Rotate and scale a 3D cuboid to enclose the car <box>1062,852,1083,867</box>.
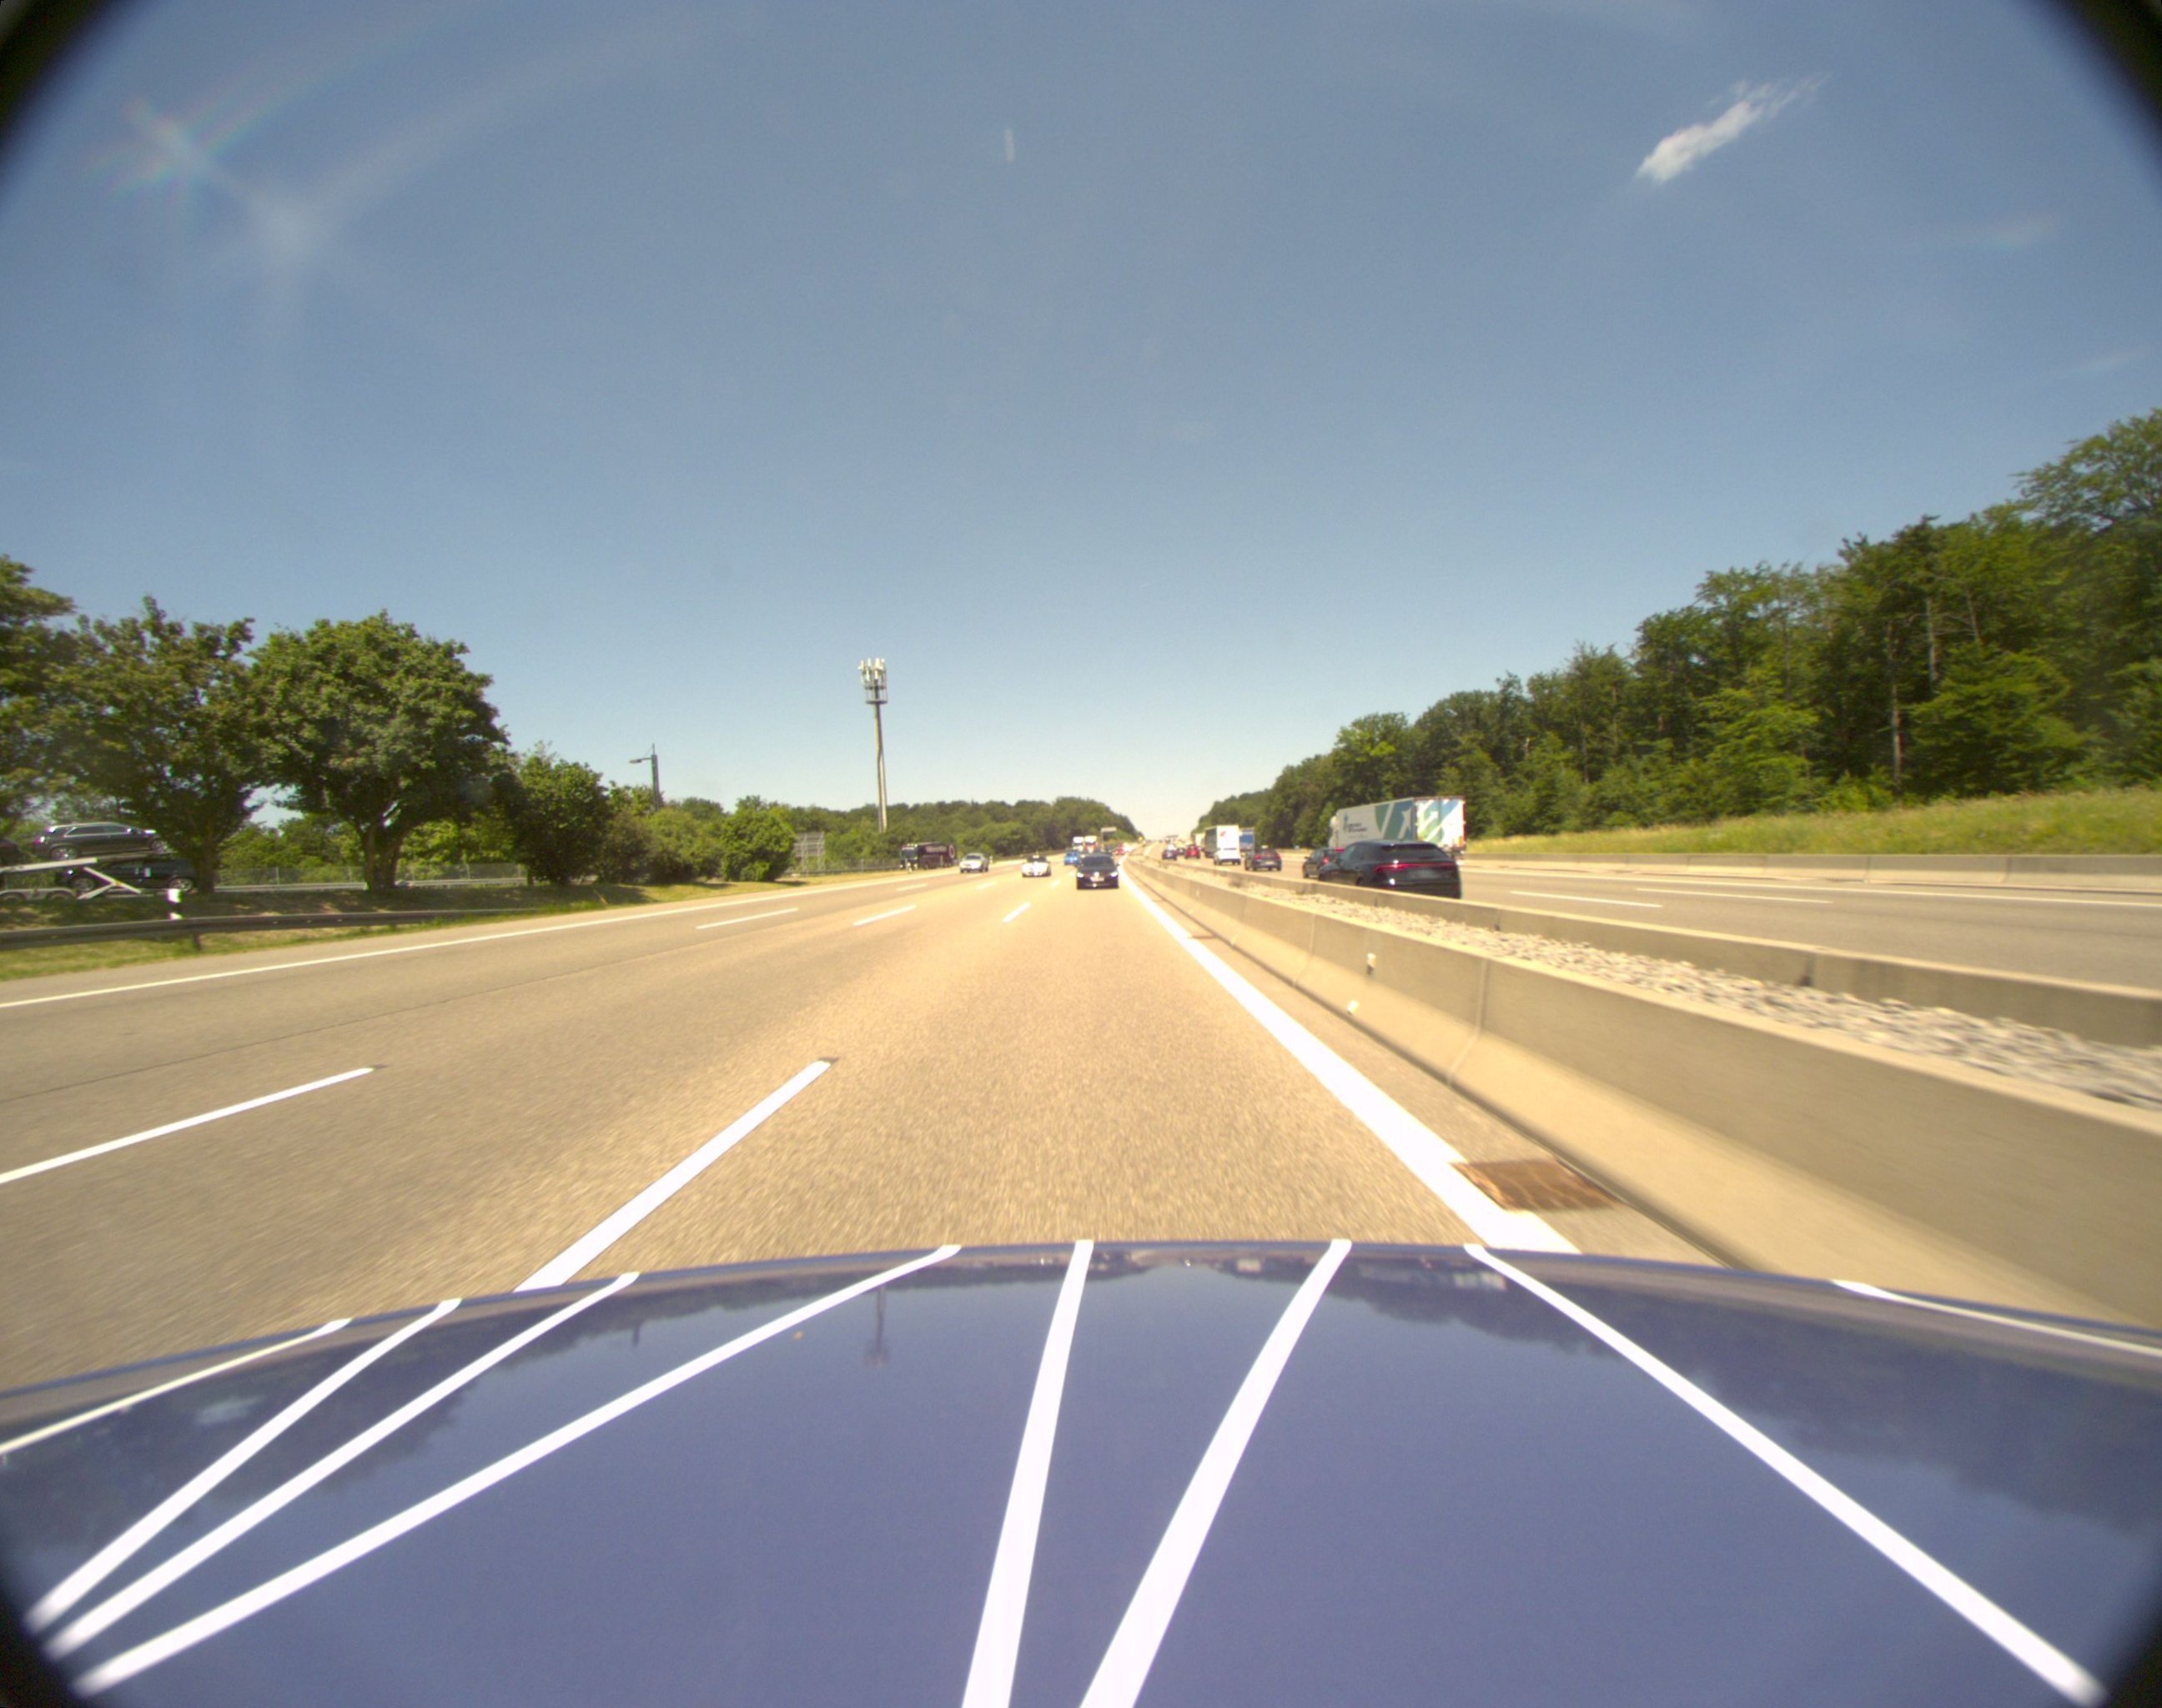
[{"bbox_3d":[-0.896,0.646,86.016,1.998,1.521,4.234,-2,1,3],"label":"car"}]

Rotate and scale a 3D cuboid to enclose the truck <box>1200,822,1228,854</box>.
[{"bbox_3d":[18.494,-2.211,105.633,2.931,4.080,5.616,-2,1,2],"label":"truck"}]

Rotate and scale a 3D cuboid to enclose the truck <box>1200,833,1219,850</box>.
[{"bbox_3d":[26.896,-2.540,159.434,2.764,3.286,10.098,-2,1,4],"label":"truck"}]

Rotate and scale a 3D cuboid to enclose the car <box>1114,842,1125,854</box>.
[{"bbox_3d":[7.672,-1.185,151.987,1.998,2.001,4.001,-3,-1,2],"label":"car"}]

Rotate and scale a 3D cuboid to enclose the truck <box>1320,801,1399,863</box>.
[{"bbox_3d":[19.484,-1.482,53.624,3.228,3.980,6.415,-2,1,2],"label":"truck"}]

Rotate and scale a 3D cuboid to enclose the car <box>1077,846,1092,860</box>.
[{"bbox_3d":[0.523,-0.167,113.061,1.998,2.002,4.000,-2,1,2],"label":"car"}]

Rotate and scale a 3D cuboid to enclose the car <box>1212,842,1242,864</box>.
[{"bbox_3d":[12.835,-0.107,67.094,1.823,1.792,4.891,-2,1,1],"label":"car"}]

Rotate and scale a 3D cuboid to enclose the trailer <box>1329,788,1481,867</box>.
[{"bbox_3d":[19.263,-1.429,46.992,3.237,4.014,15.286,-1,0,2],"label":"trailer"}]

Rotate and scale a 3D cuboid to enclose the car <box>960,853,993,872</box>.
[{"bbox_3d":[-8.994,0.720,65.578,1.998,1.521,4.001,-1,1,4],"label":"car"}]

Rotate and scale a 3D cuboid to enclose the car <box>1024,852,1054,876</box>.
[{"bbox_3d":[-2.789,0.637,50.991,1.729,1.521,3.741,-1,1,1],"label":"car"}]

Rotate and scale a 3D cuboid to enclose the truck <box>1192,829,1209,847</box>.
[{"bbox_3d":[29.139,-3.816,185.242,2.949,4.186,9.347,-2,1,3],"label":"truck"}]

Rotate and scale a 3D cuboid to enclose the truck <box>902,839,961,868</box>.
[{"bbox_3d":[-20.167,-0.203,103.650,2.749,3.551,12.335,-2,1,14],"label":"truck"}]

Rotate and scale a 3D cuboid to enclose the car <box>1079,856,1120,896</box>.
[{"bbox_3d":[0.684,0.803,29.192,1.447,1.376,3.049,-1,1,0],"label":"car"}]

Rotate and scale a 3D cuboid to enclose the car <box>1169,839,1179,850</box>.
[{"bbox_3d":[19.368,-2.079,158.324,1.861,2.180,4.067,-2,1,6],"label":"car"}]

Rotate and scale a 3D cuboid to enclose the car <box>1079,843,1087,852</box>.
[{"bbox_3d":[0.557,-1.657,188.453,1.898,2.002,3.807,-2,1,1],"label":"car"}]

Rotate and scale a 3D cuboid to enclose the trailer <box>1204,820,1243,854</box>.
[{"bbox_3d":[18.195,-2.148,97.906,2.943,4.076,12.153,-2,1,2],"label":"trailer"}]

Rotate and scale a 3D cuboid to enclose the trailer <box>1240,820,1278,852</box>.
[{"bbox_3d":[23.256,-2.367,99.961,2.730,3.901,10.763,-2,1,2],"label":"trailer"}]

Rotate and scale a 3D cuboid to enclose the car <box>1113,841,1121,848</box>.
[{"bbox_3d":[10.834,-2.755,230.425,1.999,2.002,3.998,-2,1,-3],"label":"car"}]

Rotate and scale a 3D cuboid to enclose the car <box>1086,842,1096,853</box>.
[{"bbox_3d":[2.226,-1.382,171.449,2.234,2.372,4.161,-2,1,1],"label":"car"}]

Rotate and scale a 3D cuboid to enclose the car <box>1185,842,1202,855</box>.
[{"bbox_3d":[14.853,-0.746,100.744,1.802,1.630,4.545,-2,1,3],"label":"car"}]

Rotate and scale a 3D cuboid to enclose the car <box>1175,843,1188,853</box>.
[{"bbox_3d":[16.712,-0.942,126.523,1.813,1.543,5.260,-2,1,3],"label":"car"}]

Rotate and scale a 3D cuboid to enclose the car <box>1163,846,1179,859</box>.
[{"bbox_3d":[10.971,-0.185,92.973,1.753,1.510,4.827,-2,1,4],"label":"car"}]

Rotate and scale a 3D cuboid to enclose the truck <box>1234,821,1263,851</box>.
[{"bbox_3d":[23.488,-2.429,106.830,2.728,3.991,6.937,-2,1,2],"label":"truck"}]

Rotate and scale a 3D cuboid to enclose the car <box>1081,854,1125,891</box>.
[{"bbox_3d":[0.962,0.767,32.955,1.760,1.430,4.000,-1,1,2],"label":"car"}]

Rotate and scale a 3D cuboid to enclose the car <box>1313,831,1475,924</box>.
[{"bbox_3d":[7.098,0.454,17.863,1.832,1.819,4.984,-2,1,2],"label":"car"}]

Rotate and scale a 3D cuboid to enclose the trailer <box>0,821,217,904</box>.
[{"bbox_3d":[-48.543,0.376,35.832,2.237,3.696,10.135,-1,1,42],"label":"trailer"}]

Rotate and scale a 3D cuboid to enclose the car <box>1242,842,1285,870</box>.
[{"bbox_3d":[11.811,0.073,49.366,1.922,1.674,4.000,-2,1,2],"label":"car"}]

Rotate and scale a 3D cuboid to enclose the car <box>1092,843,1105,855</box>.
[{"bbox_3d":[3.052,-0.900,132.237,1.999,1.848,3.999,-2,1,-1],"label":"car"}]

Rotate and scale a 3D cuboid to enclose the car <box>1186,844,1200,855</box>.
[{"bbox_3d":[21.949,-0.879,149.222,2.081,1.954,5.025,-2,1,2],"label":"car"}]

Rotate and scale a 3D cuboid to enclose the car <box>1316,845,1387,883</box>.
[{"bbox_3d":[11.357,0.376,32.154,1.818,1.506,4.001,-1,1,4],"label":"car"}]
